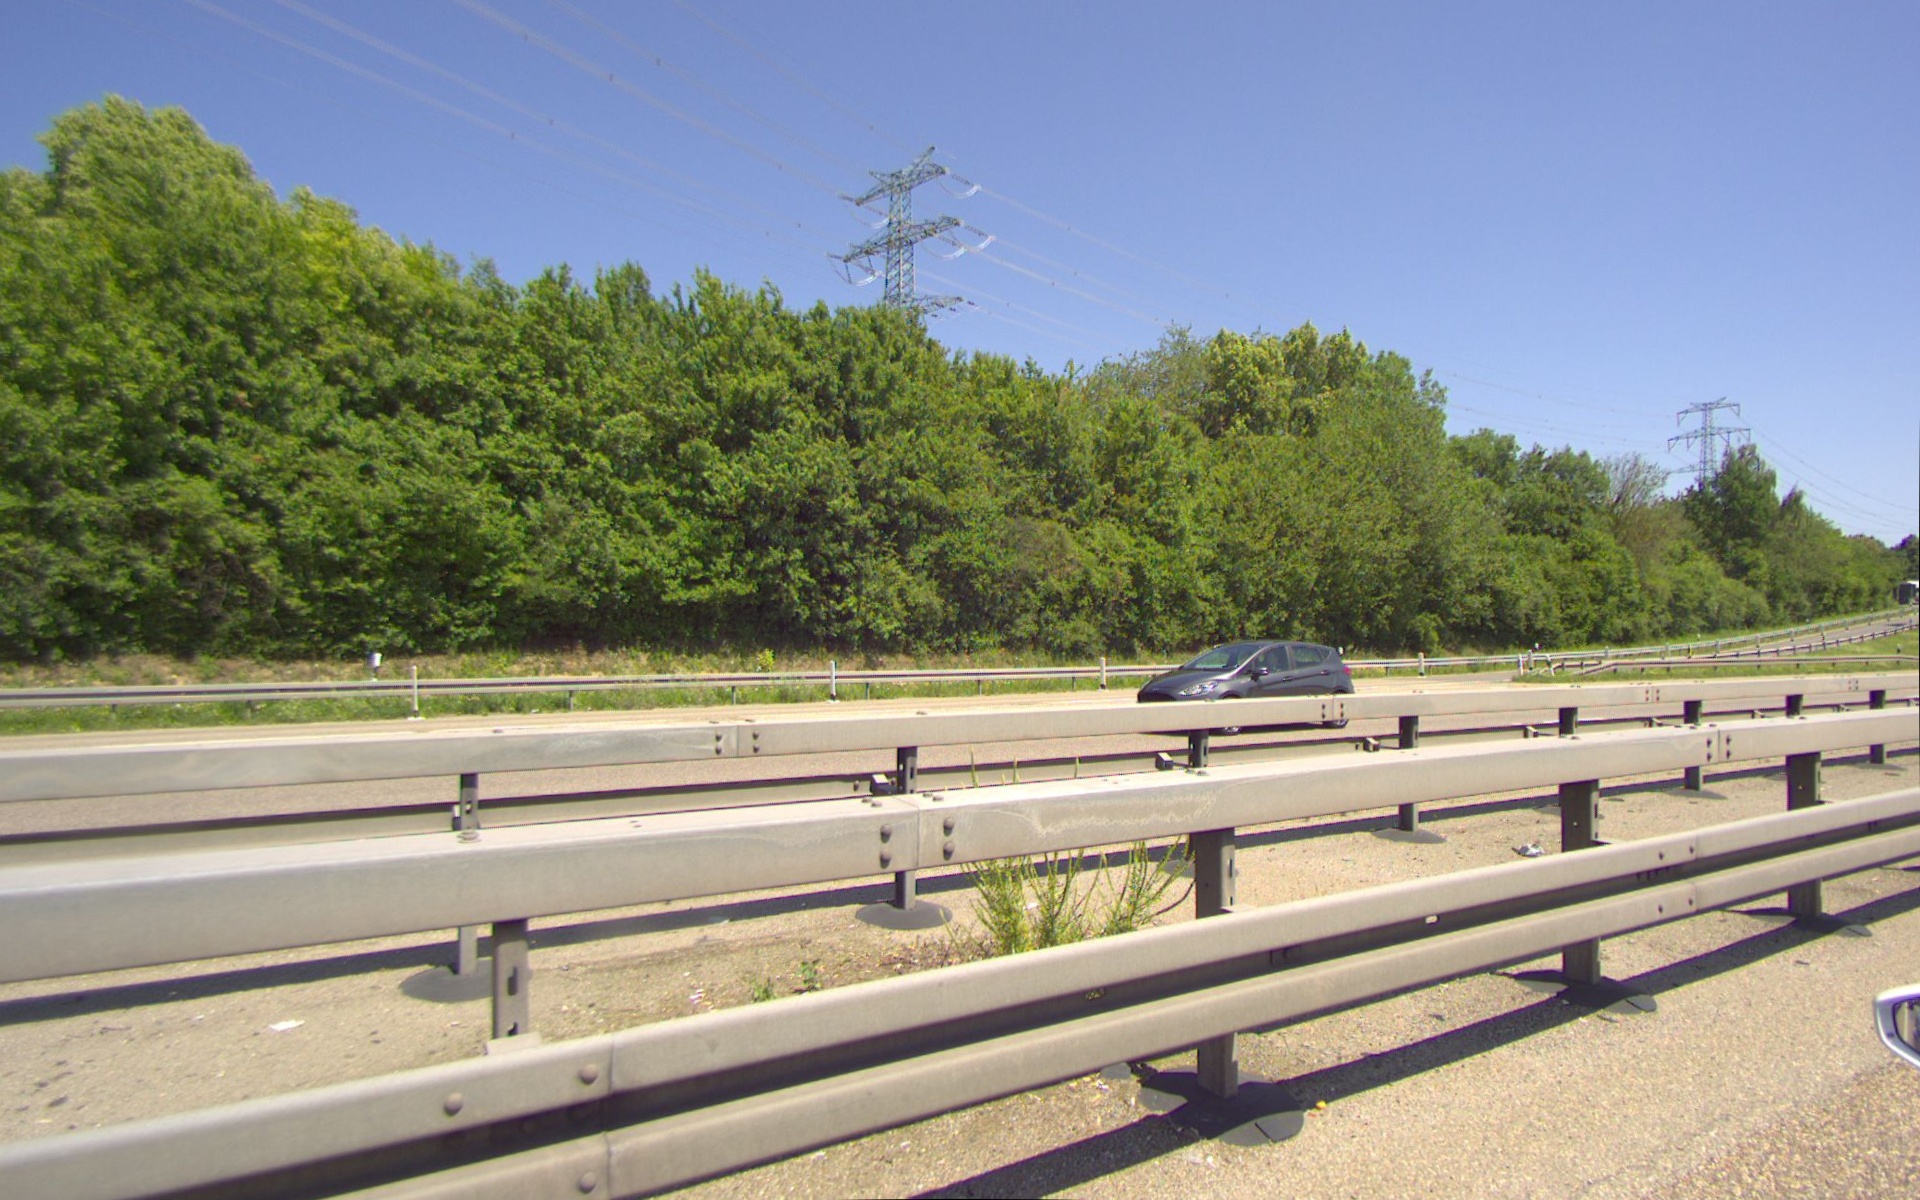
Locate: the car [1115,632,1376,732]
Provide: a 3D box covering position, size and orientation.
[{"bbox_3d":[4.746,1.298,16.579,4.097,1.465,1.867,2,-3,-31],"label":"car"}]

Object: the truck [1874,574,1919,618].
[{"bbox_3d":[166.053,-0.601,176.798,4.603,7.324,13.615,2,0,30],"label":"truck"}]
